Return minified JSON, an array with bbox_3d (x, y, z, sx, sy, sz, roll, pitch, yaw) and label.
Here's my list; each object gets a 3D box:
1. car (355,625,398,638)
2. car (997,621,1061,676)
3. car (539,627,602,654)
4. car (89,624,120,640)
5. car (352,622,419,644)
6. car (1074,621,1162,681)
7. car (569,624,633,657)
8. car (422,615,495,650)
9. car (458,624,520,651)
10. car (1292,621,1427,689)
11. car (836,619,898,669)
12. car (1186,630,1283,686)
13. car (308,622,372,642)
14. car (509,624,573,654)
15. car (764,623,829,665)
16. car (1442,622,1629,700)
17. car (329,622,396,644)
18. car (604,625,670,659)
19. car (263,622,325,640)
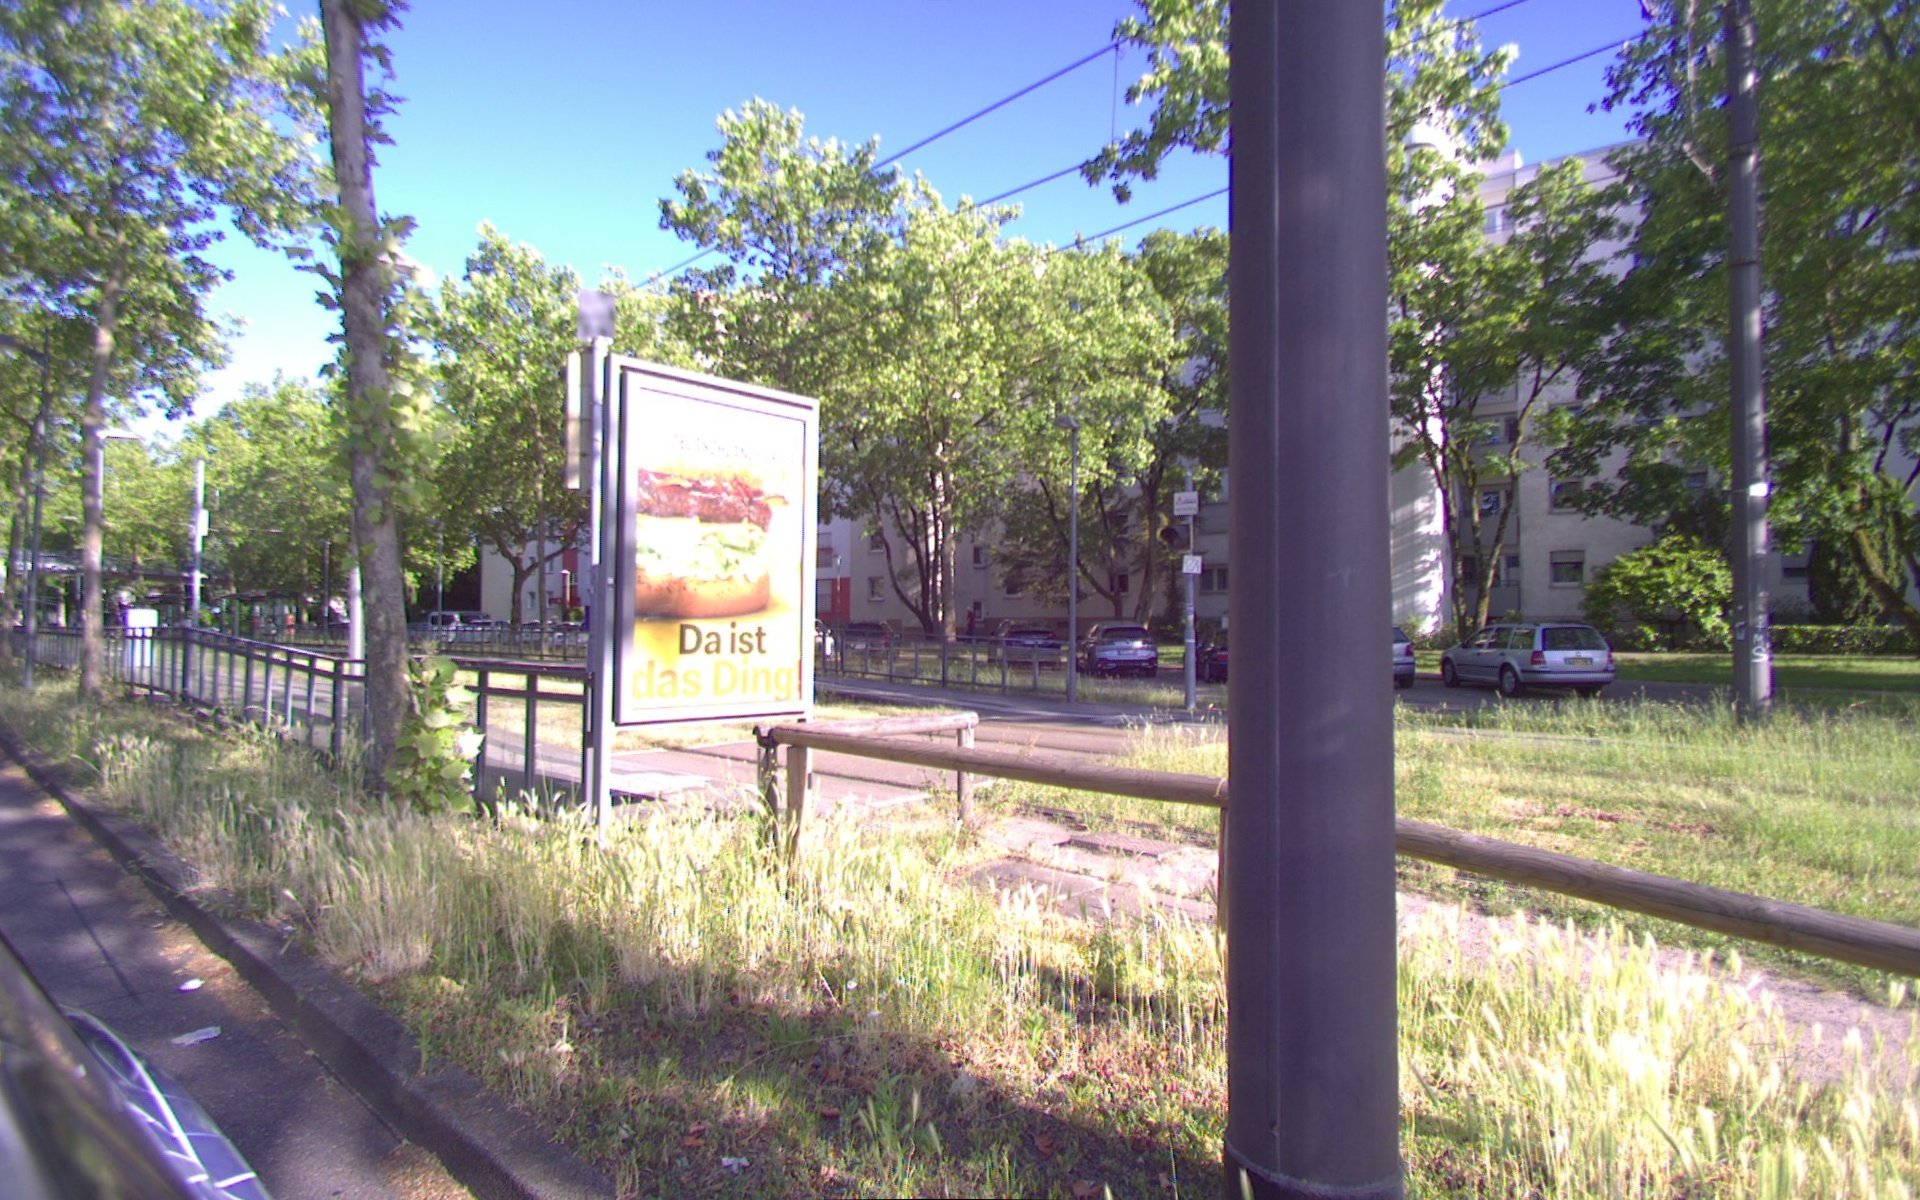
[{"bbox_3d":[-66.102,3.560,114.631,3.964,1.353,1.624,1,-2,-43],"label":"car"},{"bbox_3d":[1.942,1.364,29.440,1.664,1.482,3.680,0,-1,1],"label":"car"},{"bbox_3d":[-19.040,1.976,49.658,1.627,1.251,3.680,0,-1,1],"label":"car"},{"bbox_3d":[-89.238,3.297,105.585,4.366,1.586,1.898,-1,-2,42],"label":"car"},{"bbox_3d":[-37.772,2.168,66.637,1.898,1.386,4.365,0,-1,1],"label":"car"},{"bbox_3d":[4.215,1.343,27.487,1.894,1.507,3.680,0,-1,2],"label":"car"},{"bbox_3d":[-16.676,1.838,47.128,1.627,1.460,3.680,0,-1,1],"label":"car"},{"bbox_3d":[-28.321,1.821,57.319,1.898,1.898,4.365,0,-1,1],"label":"car"},{"bbox_3d":[-25.793,2.030,55.510,1.627,1.407,3.680,0,-1,1],"label":"car"},{"bbox_3d":[9.161,1.217,23.522,1.679,1.444,3.681,0,-1,1],"label":"car"},{"bbox_3d":[-3.100,1.455,34.461,1.664,1.579,3.679,0,-1,2],"label":"car"},{"bbox_3d":[6.738,1.398,25.201,1.602,1.256,3.677,0,-1,4],"label":"car"},{"bbox_3d":[-44.640,2.275,72.974,1.898,1.386,4.365,0,-1,1],"label":"car"},{"bbox_3d":[-21.117,1.954,51.126,1.627,1.460,3.680,0,-1,1],"label":"car"},{"bbox_3d":[-5.902,1.568,36.911,1.664,1.444,3.679,0,-1,2],"label":"car"},{"bbox_3d":[11.556,1.174,20.623,1.707,1.444,3.681,0,-1,1],"label":"car"},{"bbox_3d":[-40.278,2.198,68.381,1.898,1.386,4.365,0,-1,1],"label":"car"},{"bbox_3d":[-14.076,1.815,44.273,1.627,1.403,3.679,0,-1,2],"label":"car"},{"bbox_3d":[-52.142,2.397,79.353,1.898,1.386,4.365,0,-1,1],"label":"car"}]
